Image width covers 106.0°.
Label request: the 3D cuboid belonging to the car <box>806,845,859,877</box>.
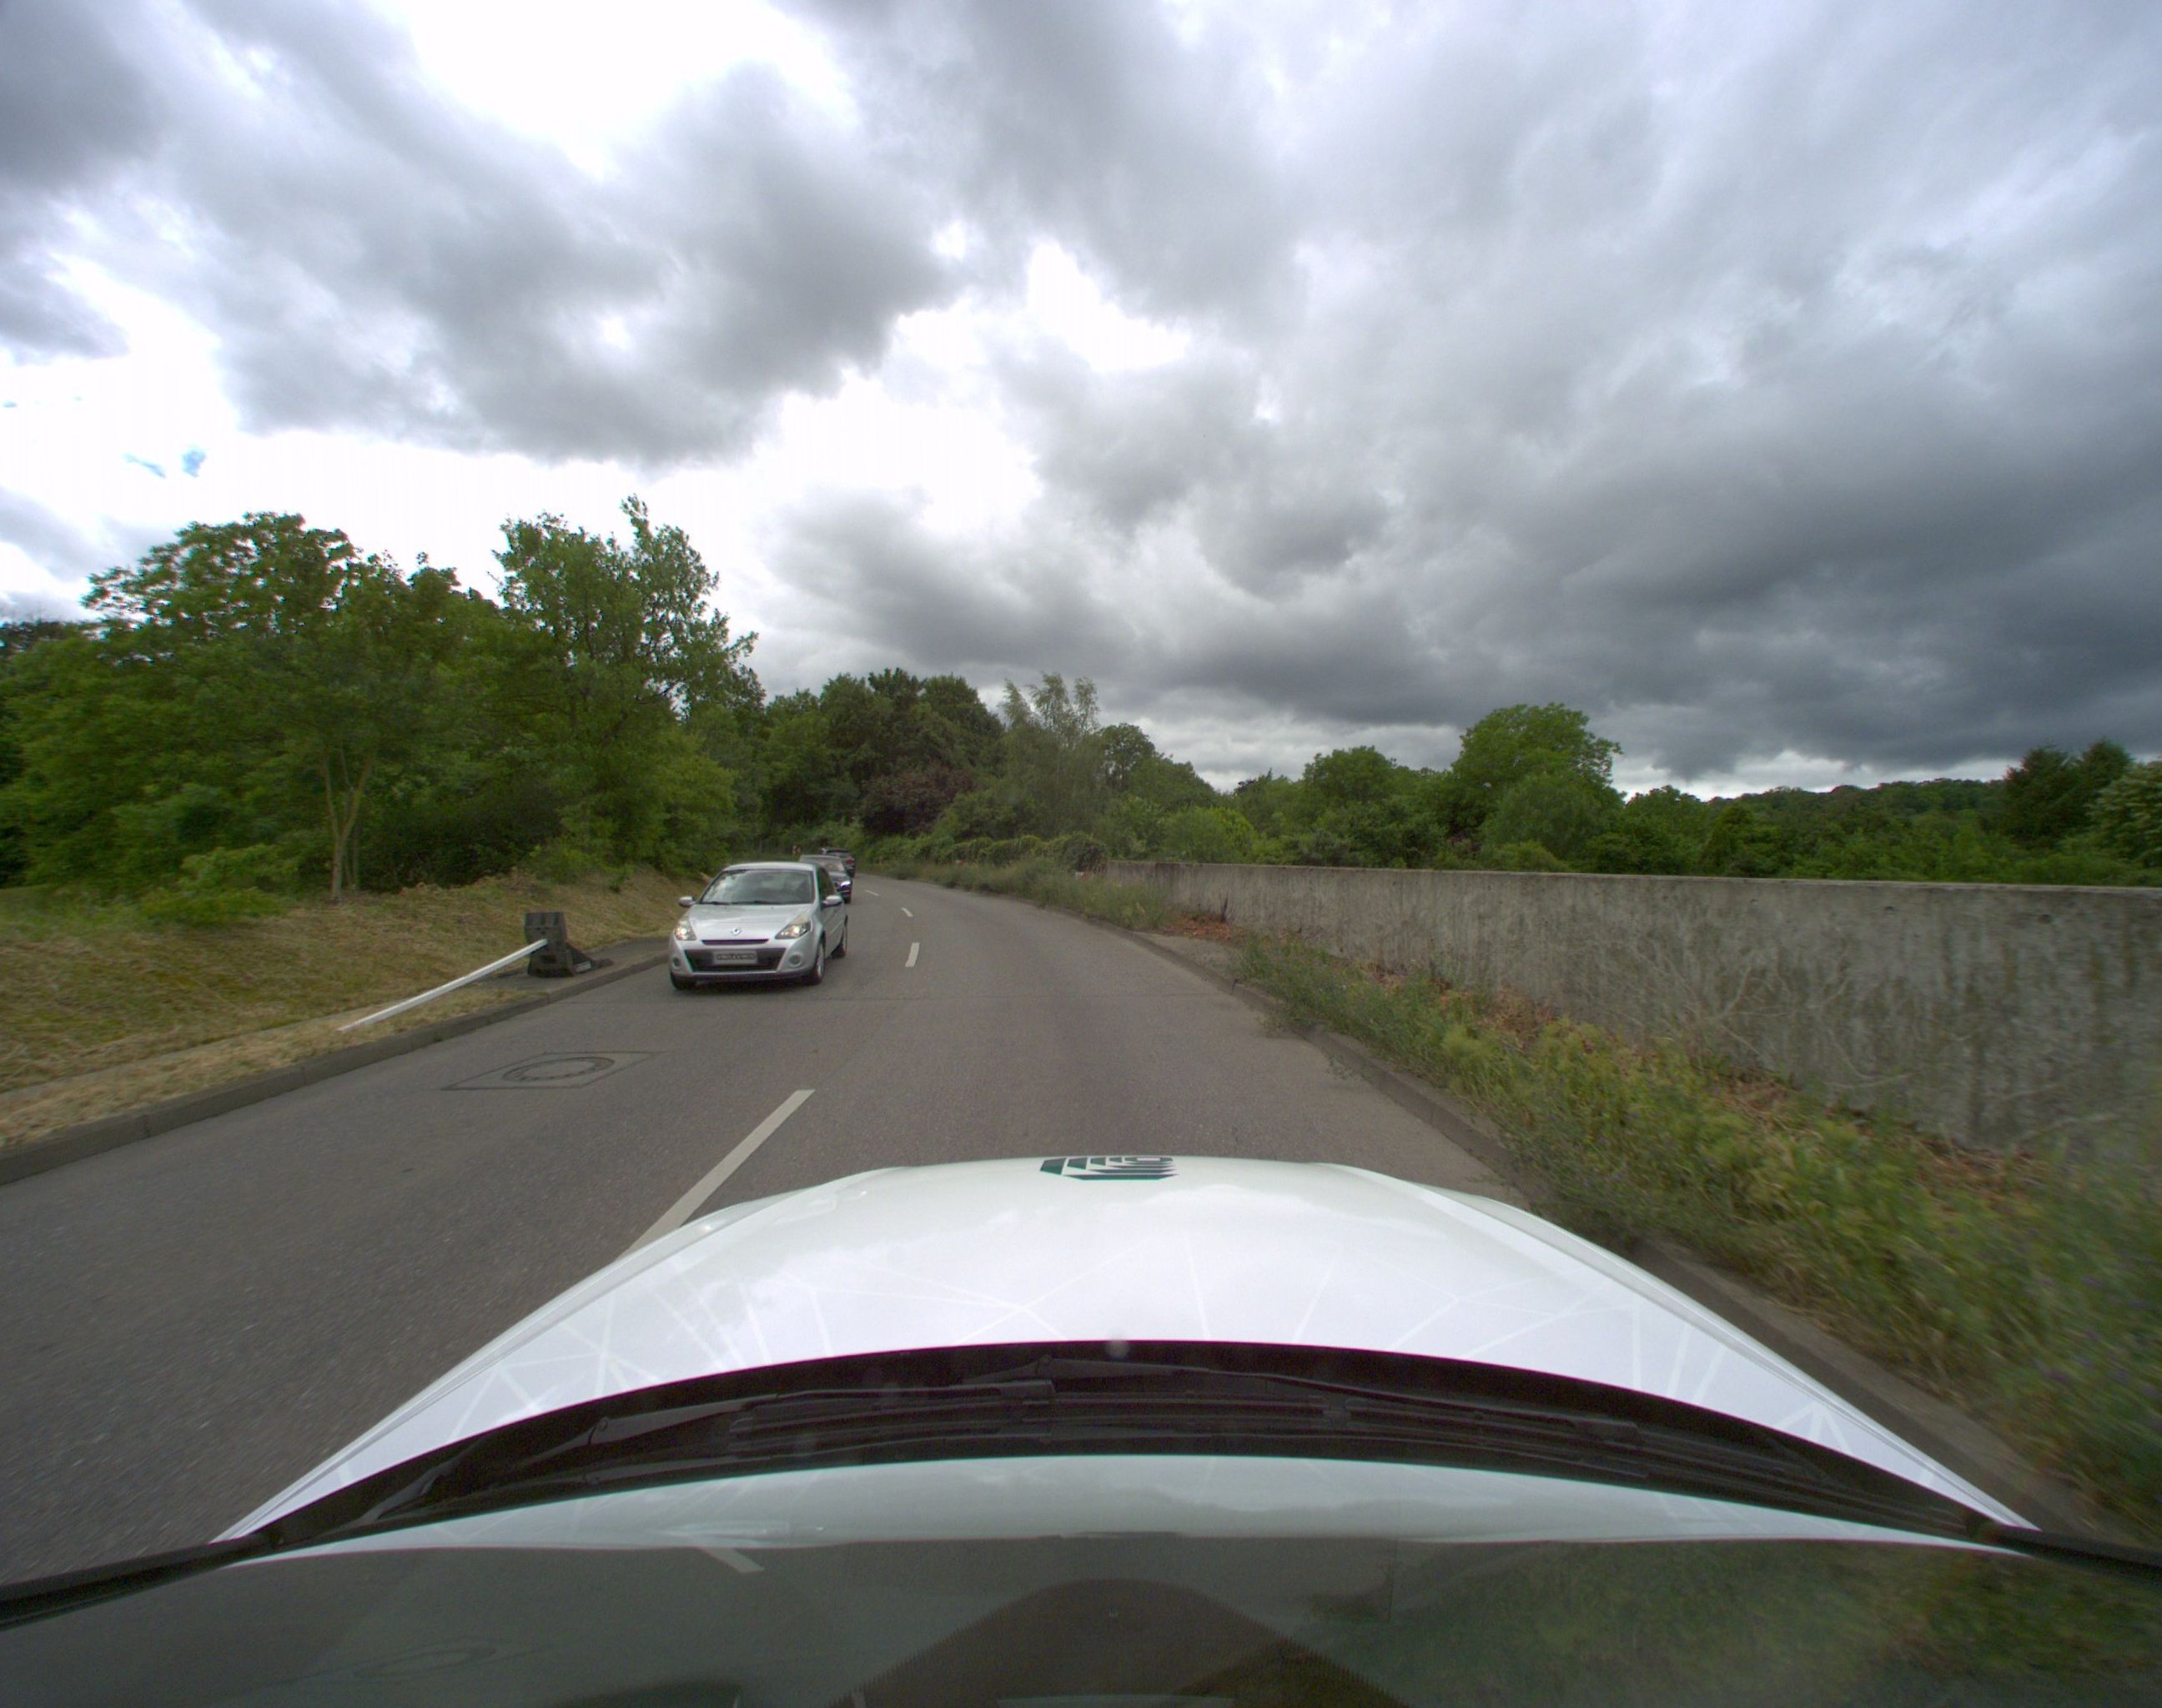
[{"bbox_3d":[-12.904,0.371,42.162,1.851,1.483,3.962,-2,0,-29],"label":"car"}]

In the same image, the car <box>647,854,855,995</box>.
[{"bbox_3d":[-4.146,0.792,10.892,1.775,1.495,3.900,-1,-1,-10],"label":"car"}]

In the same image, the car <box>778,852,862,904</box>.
[{"bbox_3d":[-8.406,0.746,25.951,1.747,1.495,4.393,-1,-1,-28],"label":"car"}]
